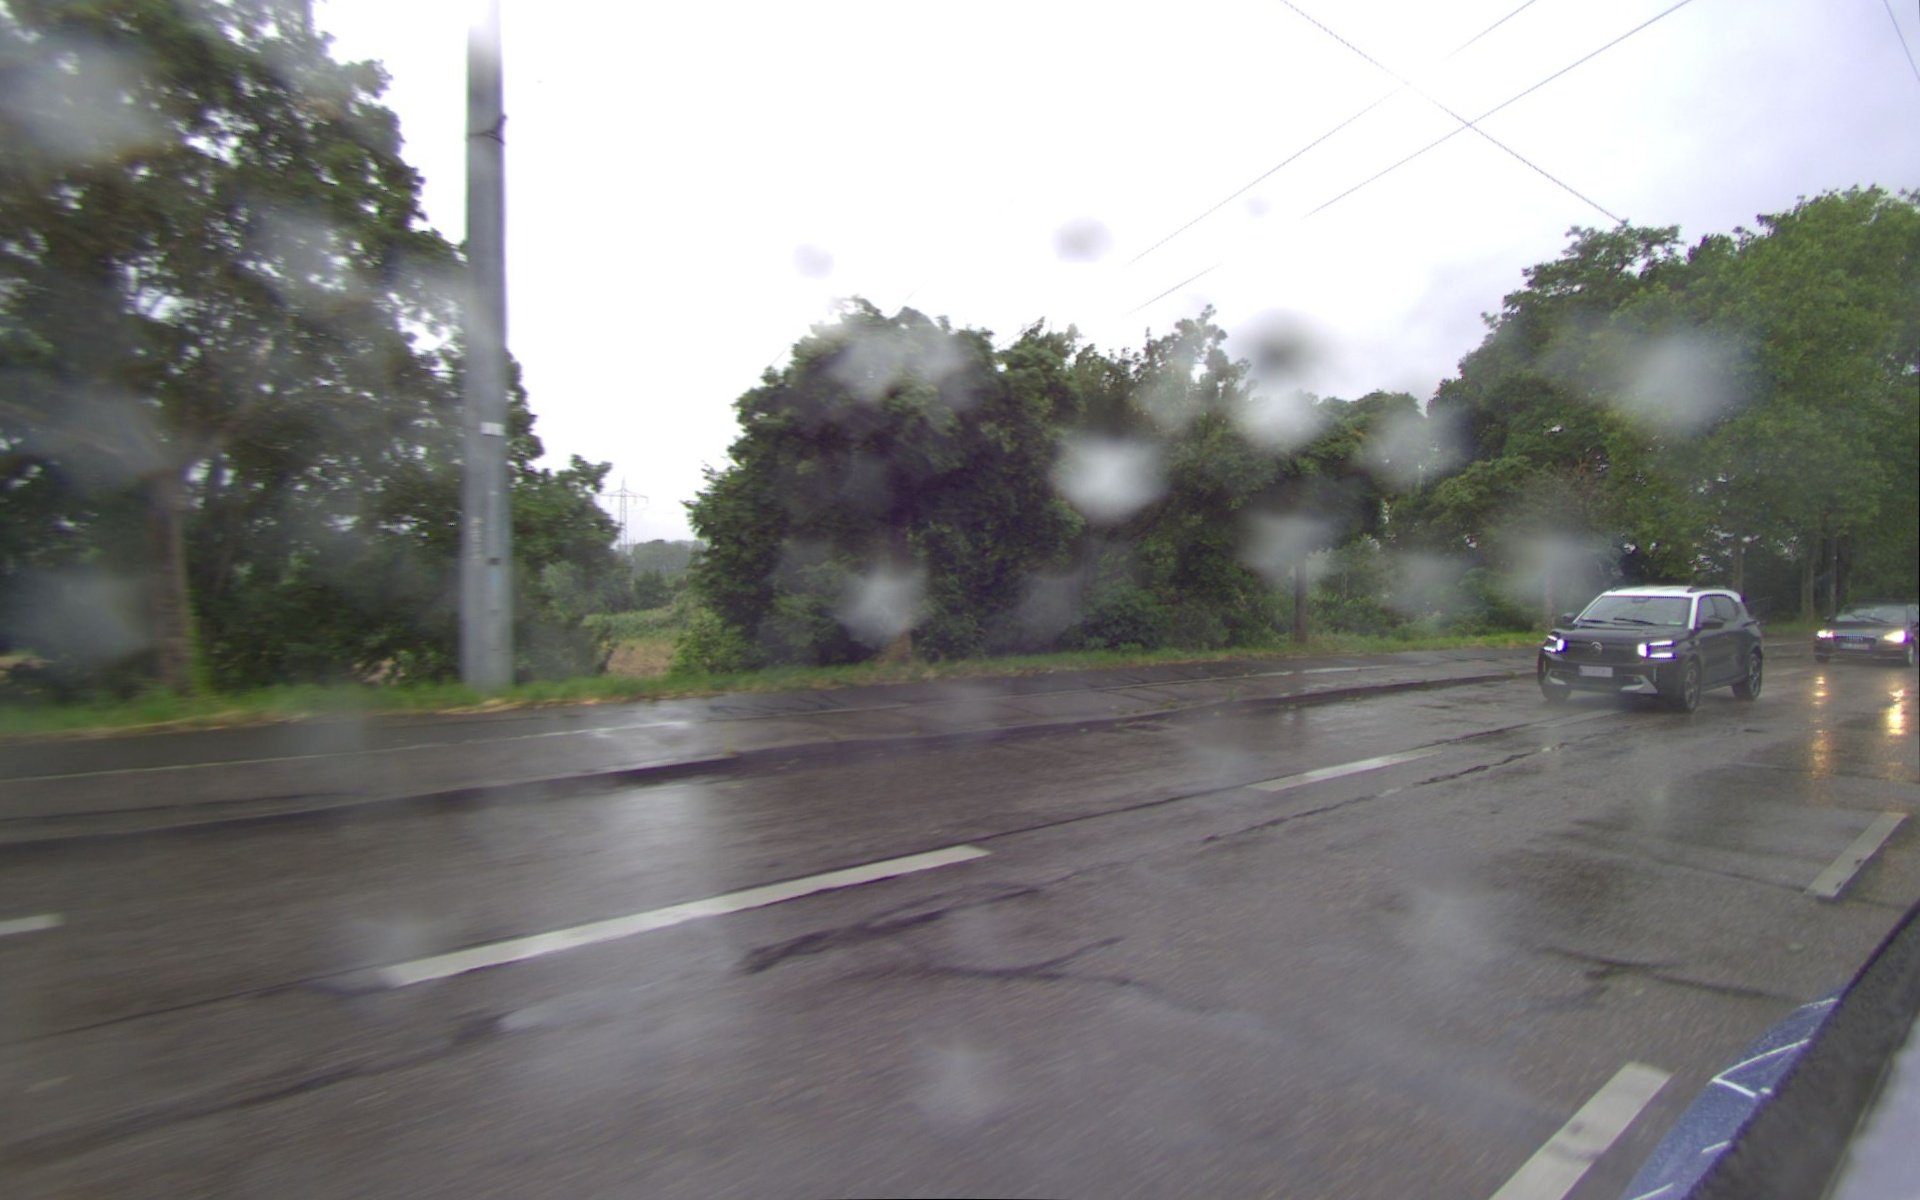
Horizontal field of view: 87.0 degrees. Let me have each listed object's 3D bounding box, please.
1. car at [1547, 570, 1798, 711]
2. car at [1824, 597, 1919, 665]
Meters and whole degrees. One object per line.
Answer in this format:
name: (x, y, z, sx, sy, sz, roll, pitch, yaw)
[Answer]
car: (10.333, 0.513, 14.541, 4.678, 1.724, 1.796, 1, -1, -40)
car: (21.749, 0.687, 23.611, 3.928, 1.445, 1.783, 1, 0, -40)
